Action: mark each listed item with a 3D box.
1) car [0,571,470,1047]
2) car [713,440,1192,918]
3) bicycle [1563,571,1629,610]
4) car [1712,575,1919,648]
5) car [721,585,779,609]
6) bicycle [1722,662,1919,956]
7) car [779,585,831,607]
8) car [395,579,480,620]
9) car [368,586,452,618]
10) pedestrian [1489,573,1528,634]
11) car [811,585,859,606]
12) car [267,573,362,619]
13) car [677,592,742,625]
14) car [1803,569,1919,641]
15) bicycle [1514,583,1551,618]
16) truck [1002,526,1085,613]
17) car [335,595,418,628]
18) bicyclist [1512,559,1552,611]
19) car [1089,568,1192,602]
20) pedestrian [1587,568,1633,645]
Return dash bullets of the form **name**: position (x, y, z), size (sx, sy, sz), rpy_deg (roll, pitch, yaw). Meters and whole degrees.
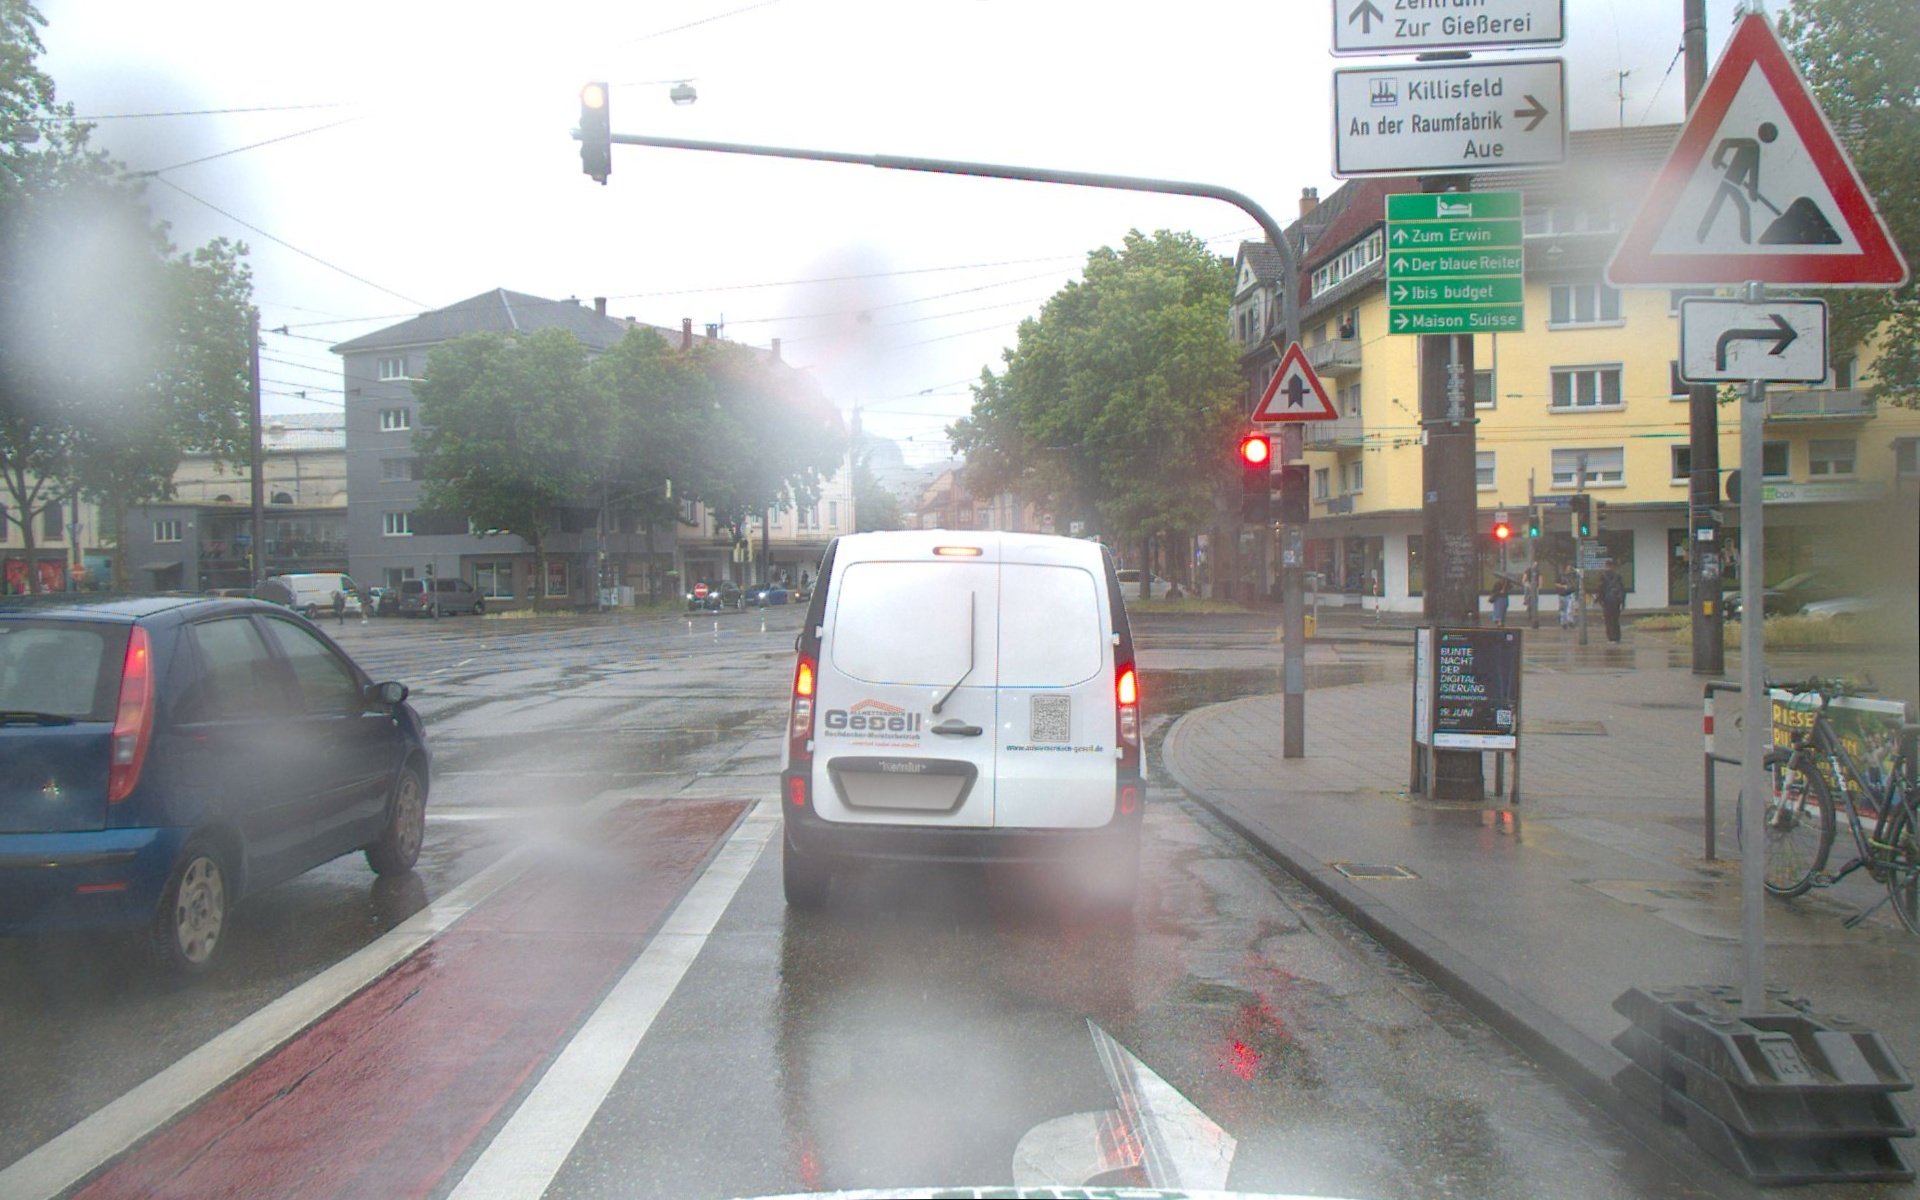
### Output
- **car**: position (-3.611, 0.693, 7.473), size (1.692, 1.606, 3.820), rpy_deg (0, 0, -1)
- **car**: position (-0.065, 0.336, 9.619), size (2.058, 2.047, 4.962), rpy_deg (0, 0, -1)
- **bicycle**: position (21.575, -0.324, 56.145), size (2.056, 1.283, 0.532), rpy_deg (0, 1, 14)
- **car**: position (20.875, 0.297, 39.631), size (4.832, 1.672, 2.001), rpy_deg (0, -2, 11)
- **car**: position (-12.110, -0.184, 95.487), size (1.909, 1.260, 4.003), rpy_deg (0, 2, 16)
- **bicycle**: position (4.252, 0.910, 7.650), size (0.503, 1.126, 2.017), rpy_deg (3, 1, 1)
- **car**: position (-9.712, -0.262, 103.945), size (1.909, 1.260, 4.003), rpy_deg (0, 2, 16)
- **car**: position (-26.759, -0.020, 84.878), size (1.954, 2.049, 3.996), rpy_deg (0, 0, 26)
- **car**: position (-28.799, 0.099, 86.659), size (1.954, 1.556, 3.997), rpy_deg (0, 2, 26)
- **pedestrian**: position (14.253, 0.096, 42.990), size (0.809, 1.560, 0.614), rpy_deg (0, 0, -39)
- **car**: position (-8.174, -0.304, 108.694), size (1.909, 1.260, 4.003), rpy_deg (0, 2, 16)
- **car**: position (-34.117, -0.235, 87.560), size (1.953, 2.236, 4.788), rpy_deg (1, 2, 22)
- **car**: position (-13.280, 0.424, 88.018), size (1.909, 1.635, 4.003), rpy_deg (0, 2, 16)
- **car**: position (20.932, 0.094, 36.485), size (3.854, 1.516, 1.808), rpy_deg (0, 1, 15)
- **bicycle**: position (17.529, -0.002, 50.631), size (0.645, 1.045, 2.019), rpy_deg (0, 0, 32)
- **truck**: position (5.556, -1.854, 106.142), size (3.395, 5.176, 15.320), rpy_deg (0, 0, 10)
- **car**: position (-30.940, 0.593, 87.760), size (1.916, 1.522, 3.997), rpy_deg (2, 3, 26)
- **bicyclist**: position (17.513, -0.452, 50.643), size (0.917, 1.574, 1.066), rpy_deg (0, 0, 34)
- **car**: position (7.576, -0.643, 69.615), size (4.088, 1.362, 1.518), rpy_deg (-1, 1, -8)
- **pedestrian**: position (14.462, 0.137, 36.788), size (0.886, 1.698, 1.019), rpy_deg (0, 0, 25)
